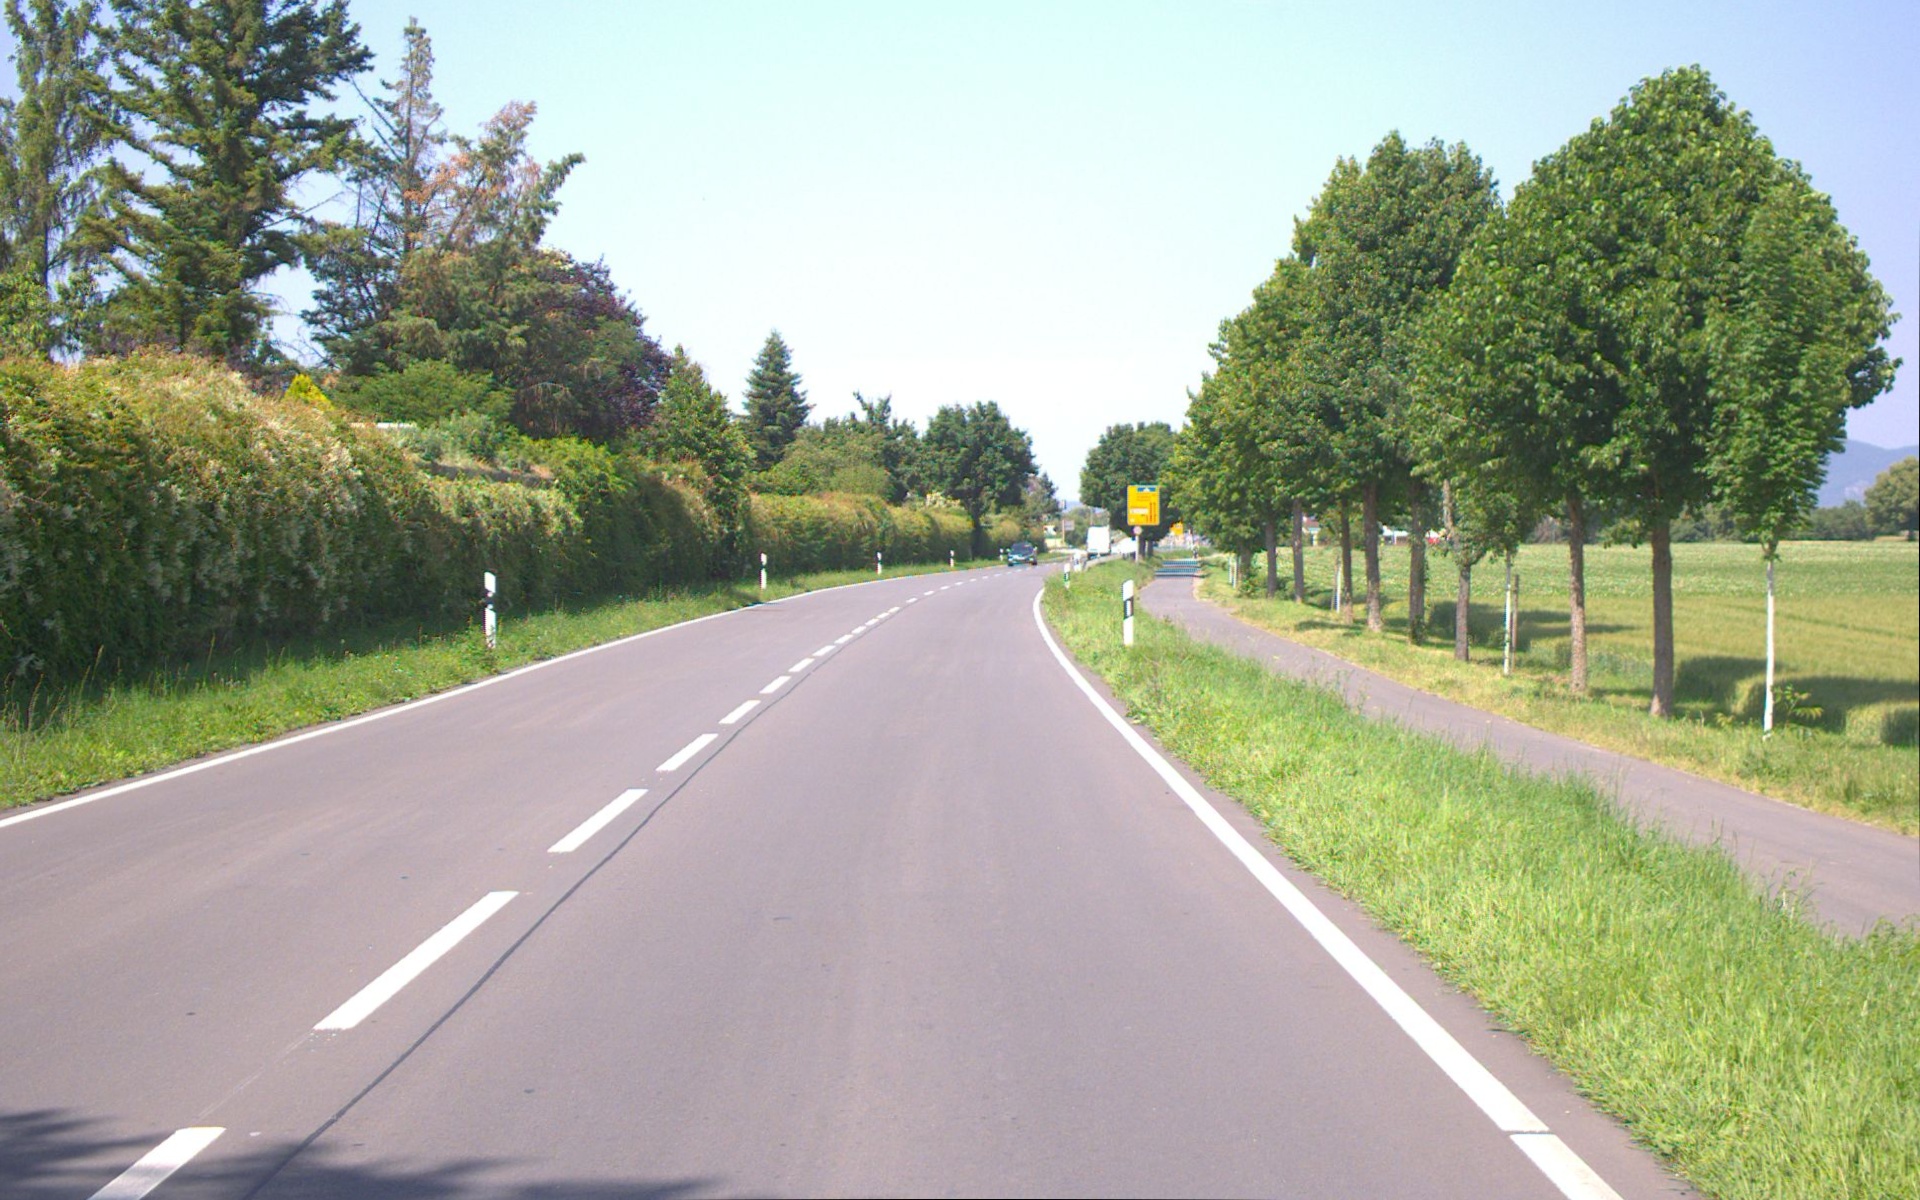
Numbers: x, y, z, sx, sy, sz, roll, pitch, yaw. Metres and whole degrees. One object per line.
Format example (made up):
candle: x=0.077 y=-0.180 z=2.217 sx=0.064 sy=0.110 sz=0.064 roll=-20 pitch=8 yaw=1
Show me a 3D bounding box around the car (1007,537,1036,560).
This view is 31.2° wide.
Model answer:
car: x=3.954 y=-3.376 z=223.010 sx=1.840 sy=1.462 sz=3.933 roll=0 pitch=1 yaw=1
